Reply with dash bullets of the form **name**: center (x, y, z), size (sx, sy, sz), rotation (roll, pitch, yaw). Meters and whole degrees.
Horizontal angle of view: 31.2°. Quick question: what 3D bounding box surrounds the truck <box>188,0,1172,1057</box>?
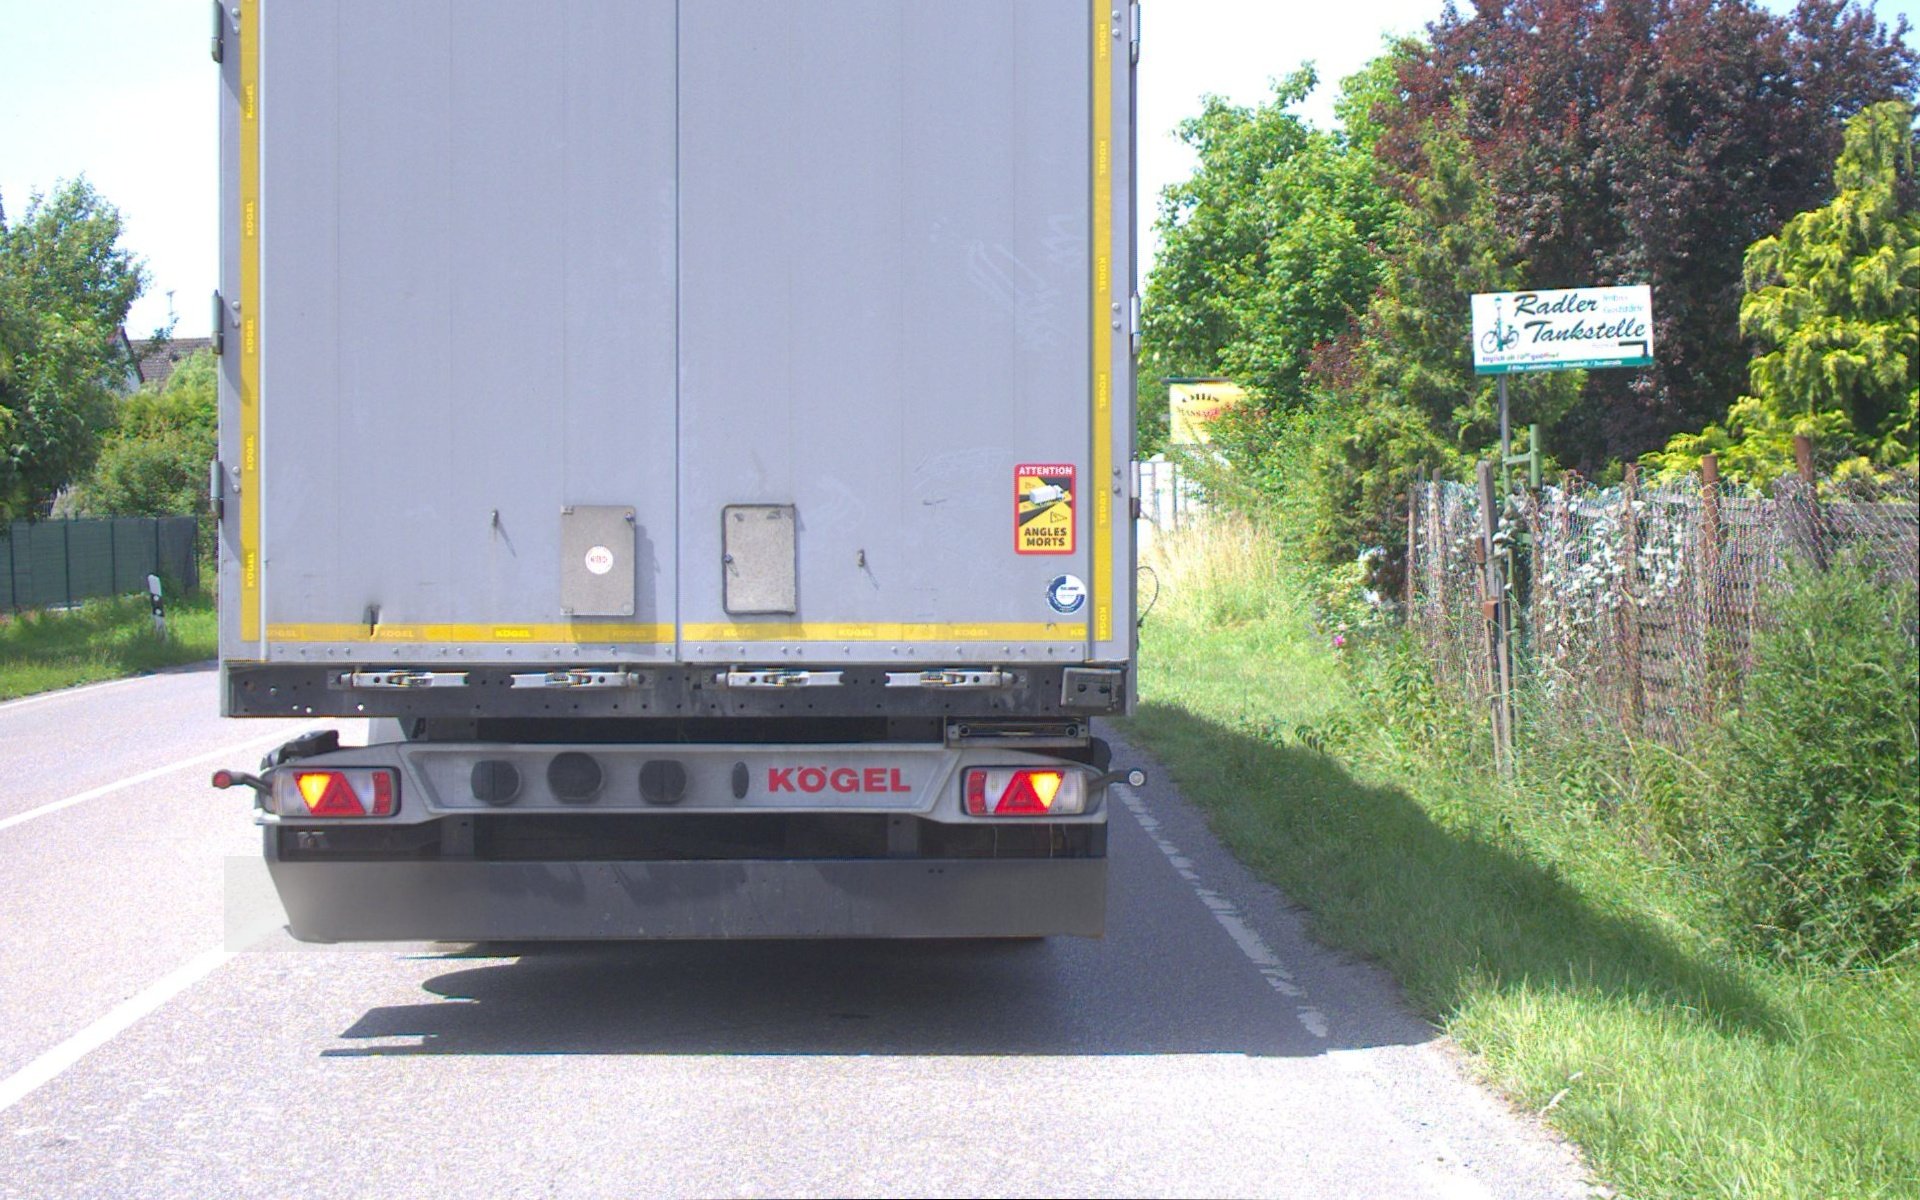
- **truck**: center (-0.958, -0.825, 13.694), size (2.647, 3.903, 8.826), rotation (0, 1, -3)
